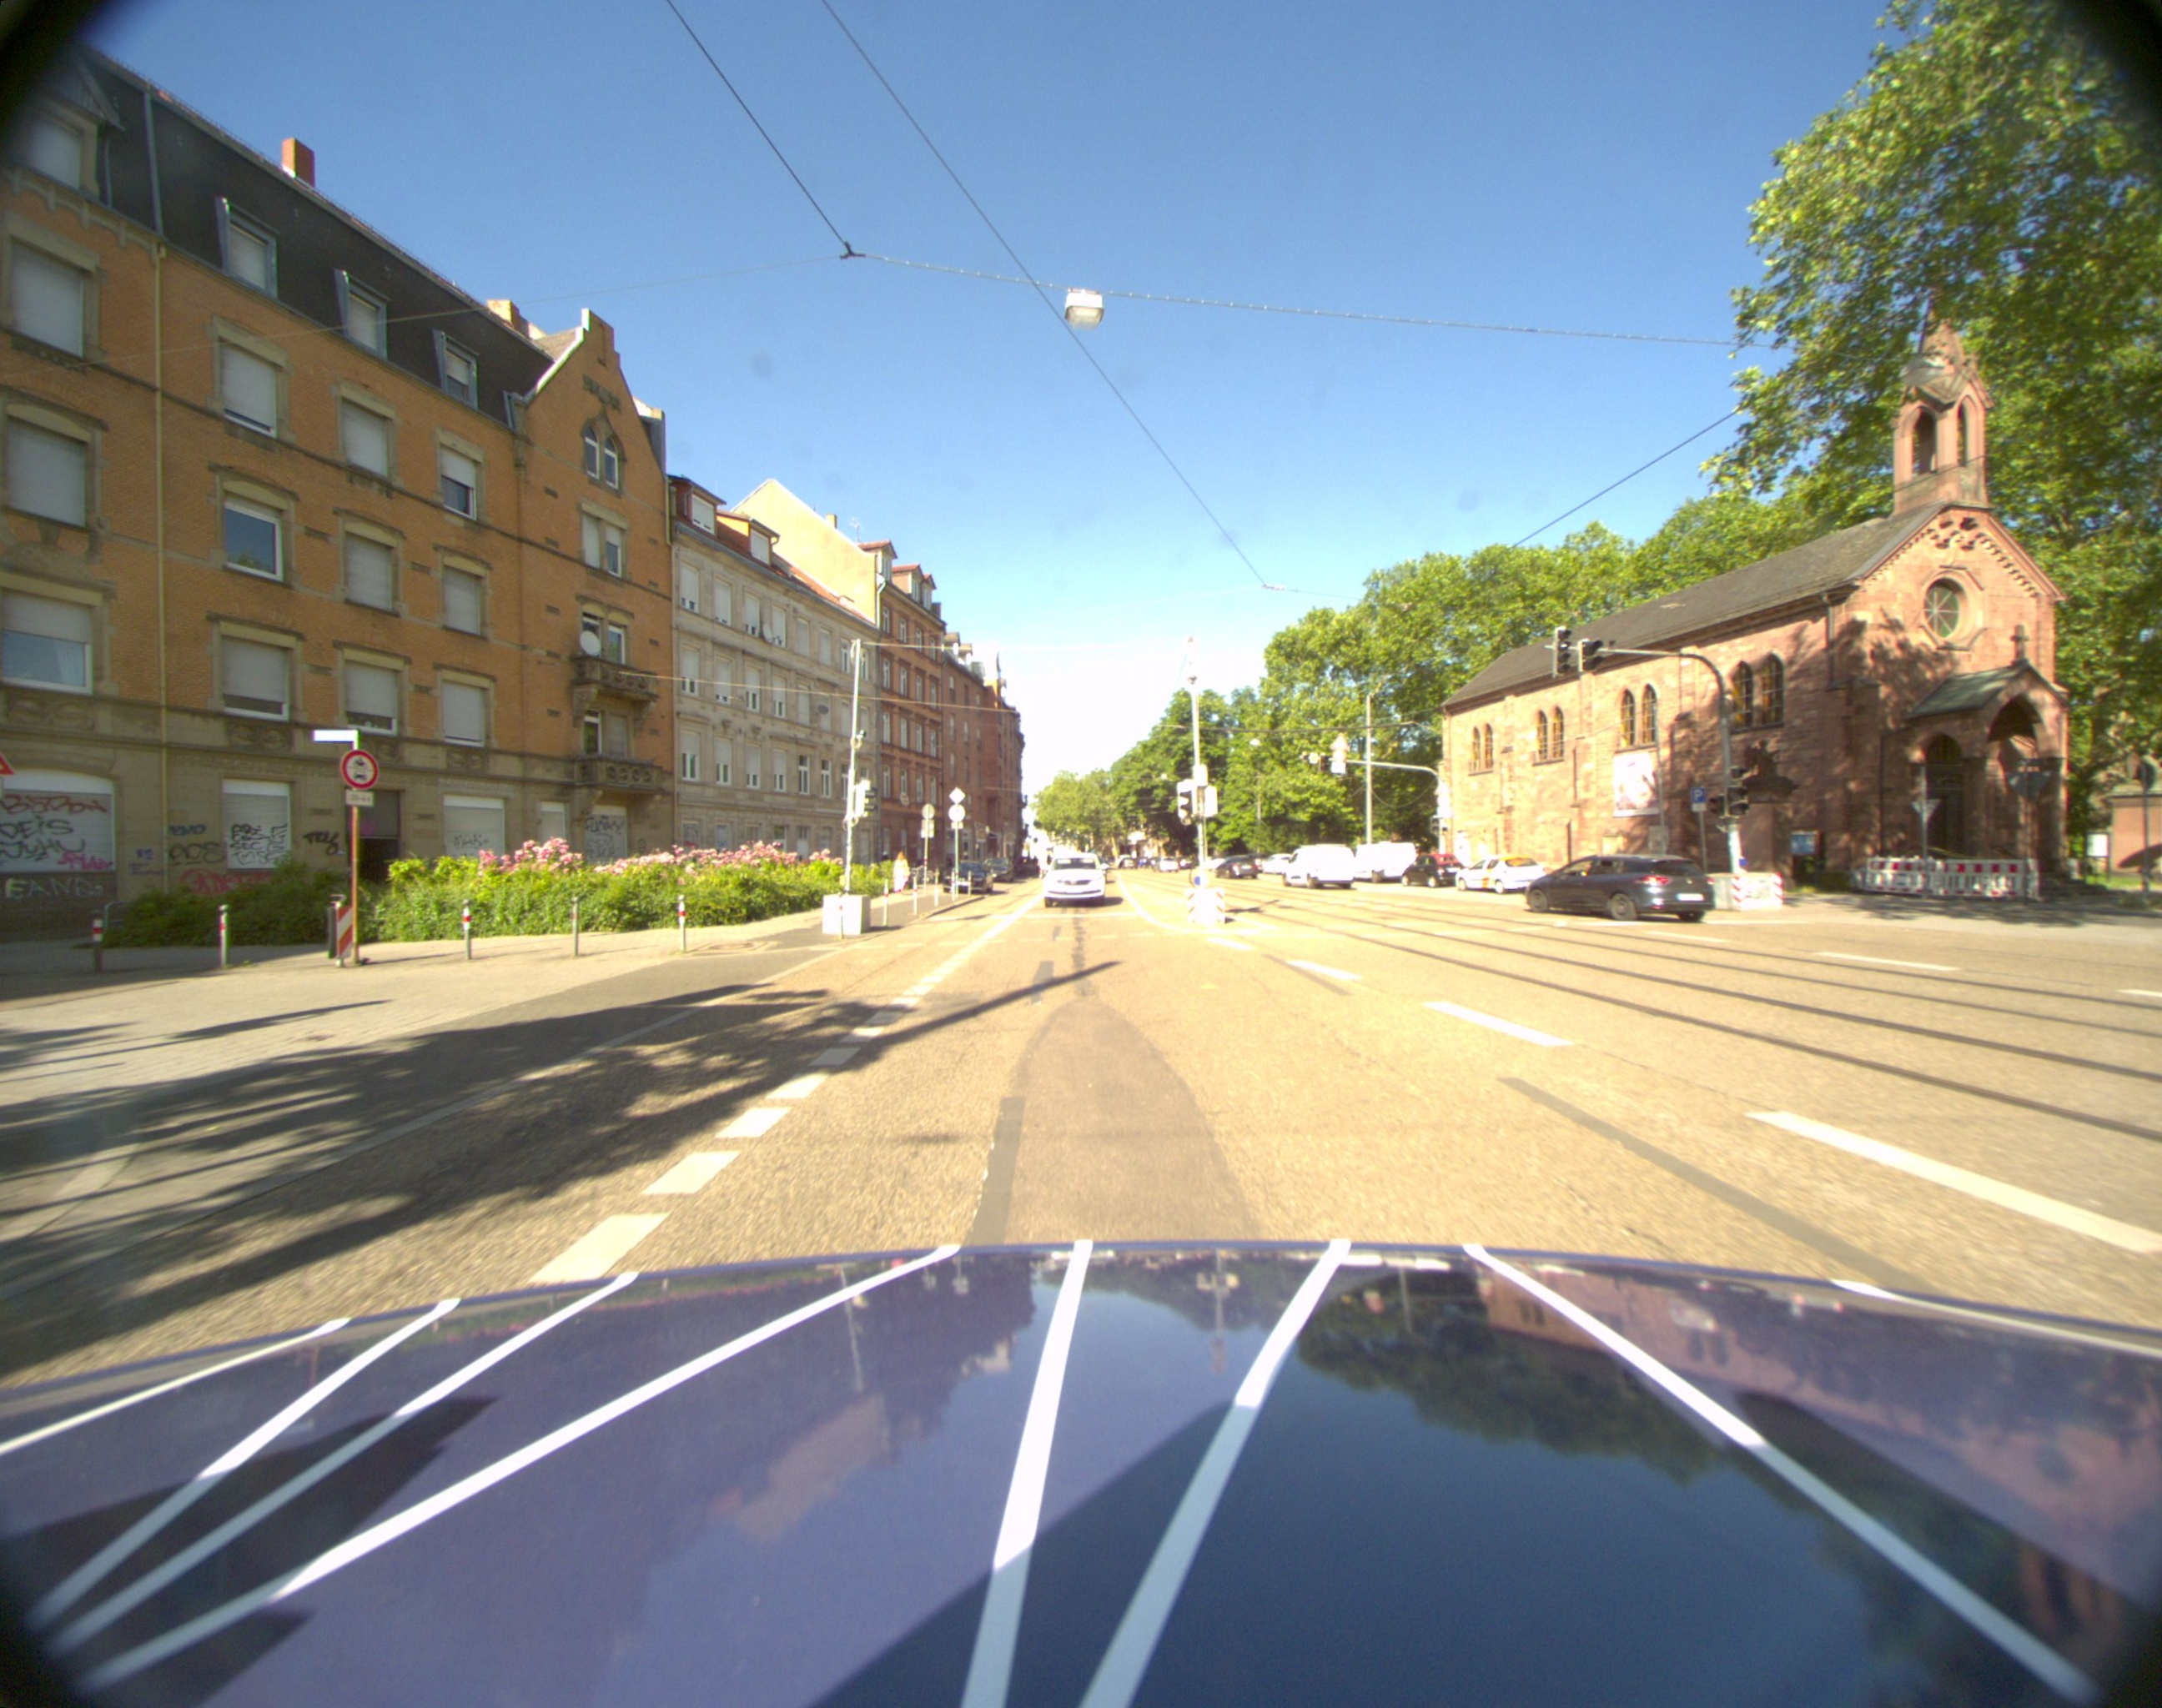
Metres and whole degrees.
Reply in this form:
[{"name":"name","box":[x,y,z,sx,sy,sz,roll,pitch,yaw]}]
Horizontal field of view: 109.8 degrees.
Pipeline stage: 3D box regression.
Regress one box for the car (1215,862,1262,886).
[{"name":"car","box":[9.904,1.226,47.986,1.798,1.421,4.374,-1,0,-4]}]

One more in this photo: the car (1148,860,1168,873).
[{"name":"car","box":[9.387,1.532,92.859,1.795,1.542,4.305,-1,0,-3]}]

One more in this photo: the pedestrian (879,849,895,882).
[{"name":"pedestrian","box":[-10.959,0.660,42.881,0.822,1.851,0.703,-1,1,-13]}]

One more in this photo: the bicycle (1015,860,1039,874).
[{"name":"bicycle","box":[-4.271,1.046,60.241,1.801,1.053,0.655,0,1,9]}]

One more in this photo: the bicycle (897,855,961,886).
[{"name":"bicycle","box":[-8.025,0.820,40.951,1.969,1.408,6.827,2,0,1]}]

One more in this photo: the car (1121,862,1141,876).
[{"name":"car","box":[5.846,1.733,88.676,1.798,1.421,4.374,-1,0,-4]}]

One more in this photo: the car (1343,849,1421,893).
[{"name":"car","box":[15.512,0.832,39.473,1.921,2.084,4.590,-1,0,-5]}]

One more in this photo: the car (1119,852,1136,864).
[{"name":"car","box":[6.621,0.564,108.646,1.795,1.542,4.305,-1,0,-3]}]

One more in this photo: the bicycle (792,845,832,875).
[{"name":"bicycle","box":[-11.976,0.249,33.950,0.956,1.278,2.237,-1,0,0]}]

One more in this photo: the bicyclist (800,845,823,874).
[{"name":"bicyclist","box":[-11.975,0.227,33.821,0.693,1.278,0.862,-1,1,0]}]

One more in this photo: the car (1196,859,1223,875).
[{"name":"car","box":[12.997,1.282,77.058,1.795,1.542,4.305,-1,0,-3]}]

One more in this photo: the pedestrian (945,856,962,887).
[{"name":"pedestrian","box":[-8.315,1.121,49.446,0.844,2.002,1.369,-1,1,0]}]

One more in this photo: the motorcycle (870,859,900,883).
[{"name":"motorcycle","box":[-11.051,0.957,42.861,1.632,1.308,0.716,-1,1,-13]}]

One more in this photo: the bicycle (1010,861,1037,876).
[{"name":"bicycle","box":[-4.419,1.086,58.702,1.917,1.130,0.845,0,1,12]}]

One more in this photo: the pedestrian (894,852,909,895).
[{"name":"pedestrian","box":[-6.972,0.754,29.562,0.551,1.667,0.687,-1,1,-13]}]

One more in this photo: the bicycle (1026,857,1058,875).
[{"name":"bicycle","box":[-3.415,0.992,68.075,1.805,1.429,8.781,-1,0,4]}]

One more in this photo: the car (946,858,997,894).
[{"name":"car","box":[-4.781,0.921,33.605,1.683,1.475,3.999,-1,0,-1]}]

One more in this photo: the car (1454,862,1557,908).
[{"name":"car","box":[16.377,1.157,29.516,1.780,1.565,3.676,-2,0,-3]}]

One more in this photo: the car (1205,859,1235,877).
[{"name":"car","box":[13.085,1.313,71.904,1.795,1.542,4.305,-1,0,-3]}]

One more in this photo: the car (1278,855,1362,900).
[{"name":"car","box":[10.466,0.976,33.602,2.067,1.880,4.515,0,0,-3]}]

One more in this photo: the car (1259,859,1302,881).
[{"name":"car","box":[14.512,1.139,55.491,1.795,1.542,4.305,-1,0,-3]}]

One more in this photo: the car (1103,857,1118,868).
[{"name":"car","box":[4.625,1.317,119.360,1.795,1.542,4.305,-1,0,-3]}]

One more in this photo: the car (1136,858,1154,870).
[{"name":"car","box":[8.339,1.305,99.365,1.795,1.542,4.305,-1,0,-3]}]

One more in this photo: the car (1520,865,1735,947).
[{"name":"car","box":[12.011,1.059,17.090,1.620,1.404,4.085,-1,2,-5]}]

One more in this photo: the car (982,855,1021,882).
[{"name":"car","box":[-4.840,0.850,46.894,1.764,1.516,4.473,3,0,1]}]

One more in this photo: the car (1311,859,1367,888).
[{"name":"car","box":[15.261,1.123,45.133,1.796,1.543,3.858,-1,0,-4]}]

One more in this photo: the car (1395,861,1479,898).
[{"name":"car","box":[16.052,1.106,34.468,1.796,1.543,3.858,-1,0,-4]}]

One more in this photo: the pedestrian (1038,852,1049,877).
[{"name":"pedestrian","box":[-2.762,0.762,55.859,0.735,1.784,0.884,-1,1,0]}]

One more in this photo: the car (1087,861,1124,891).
[{"name":"car","box":[1.402,1.231,43.437,1.998,1.608,4.264,-1,0,2]}]

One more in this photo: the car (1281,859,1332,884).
[{"name":"car","box":[14.776,1.134,50.085,1.796,1.542,4.305,-1,0,-5]}]

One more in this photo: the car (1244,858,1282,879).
[{"name":"car","box":[14.377,1.138,60.316,1.795,1.542,4.305,-1,0,-3]}]

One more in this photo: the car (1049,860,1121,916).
[{"name":"car","box":[0.231,1.075,25.558,1.800,1.626,4.396,-1,1,8]}]

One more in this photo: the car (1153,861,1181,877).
[{"name":"car","box":[7.790,1.346,69.436,1.798,1.421,4.374,-1,0,-4]}]

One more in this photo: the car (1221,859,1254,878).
[{"name":"car","box":[13.548,1.240,66.091,1.795,1.542,4.305,-1,0,-3]}]
